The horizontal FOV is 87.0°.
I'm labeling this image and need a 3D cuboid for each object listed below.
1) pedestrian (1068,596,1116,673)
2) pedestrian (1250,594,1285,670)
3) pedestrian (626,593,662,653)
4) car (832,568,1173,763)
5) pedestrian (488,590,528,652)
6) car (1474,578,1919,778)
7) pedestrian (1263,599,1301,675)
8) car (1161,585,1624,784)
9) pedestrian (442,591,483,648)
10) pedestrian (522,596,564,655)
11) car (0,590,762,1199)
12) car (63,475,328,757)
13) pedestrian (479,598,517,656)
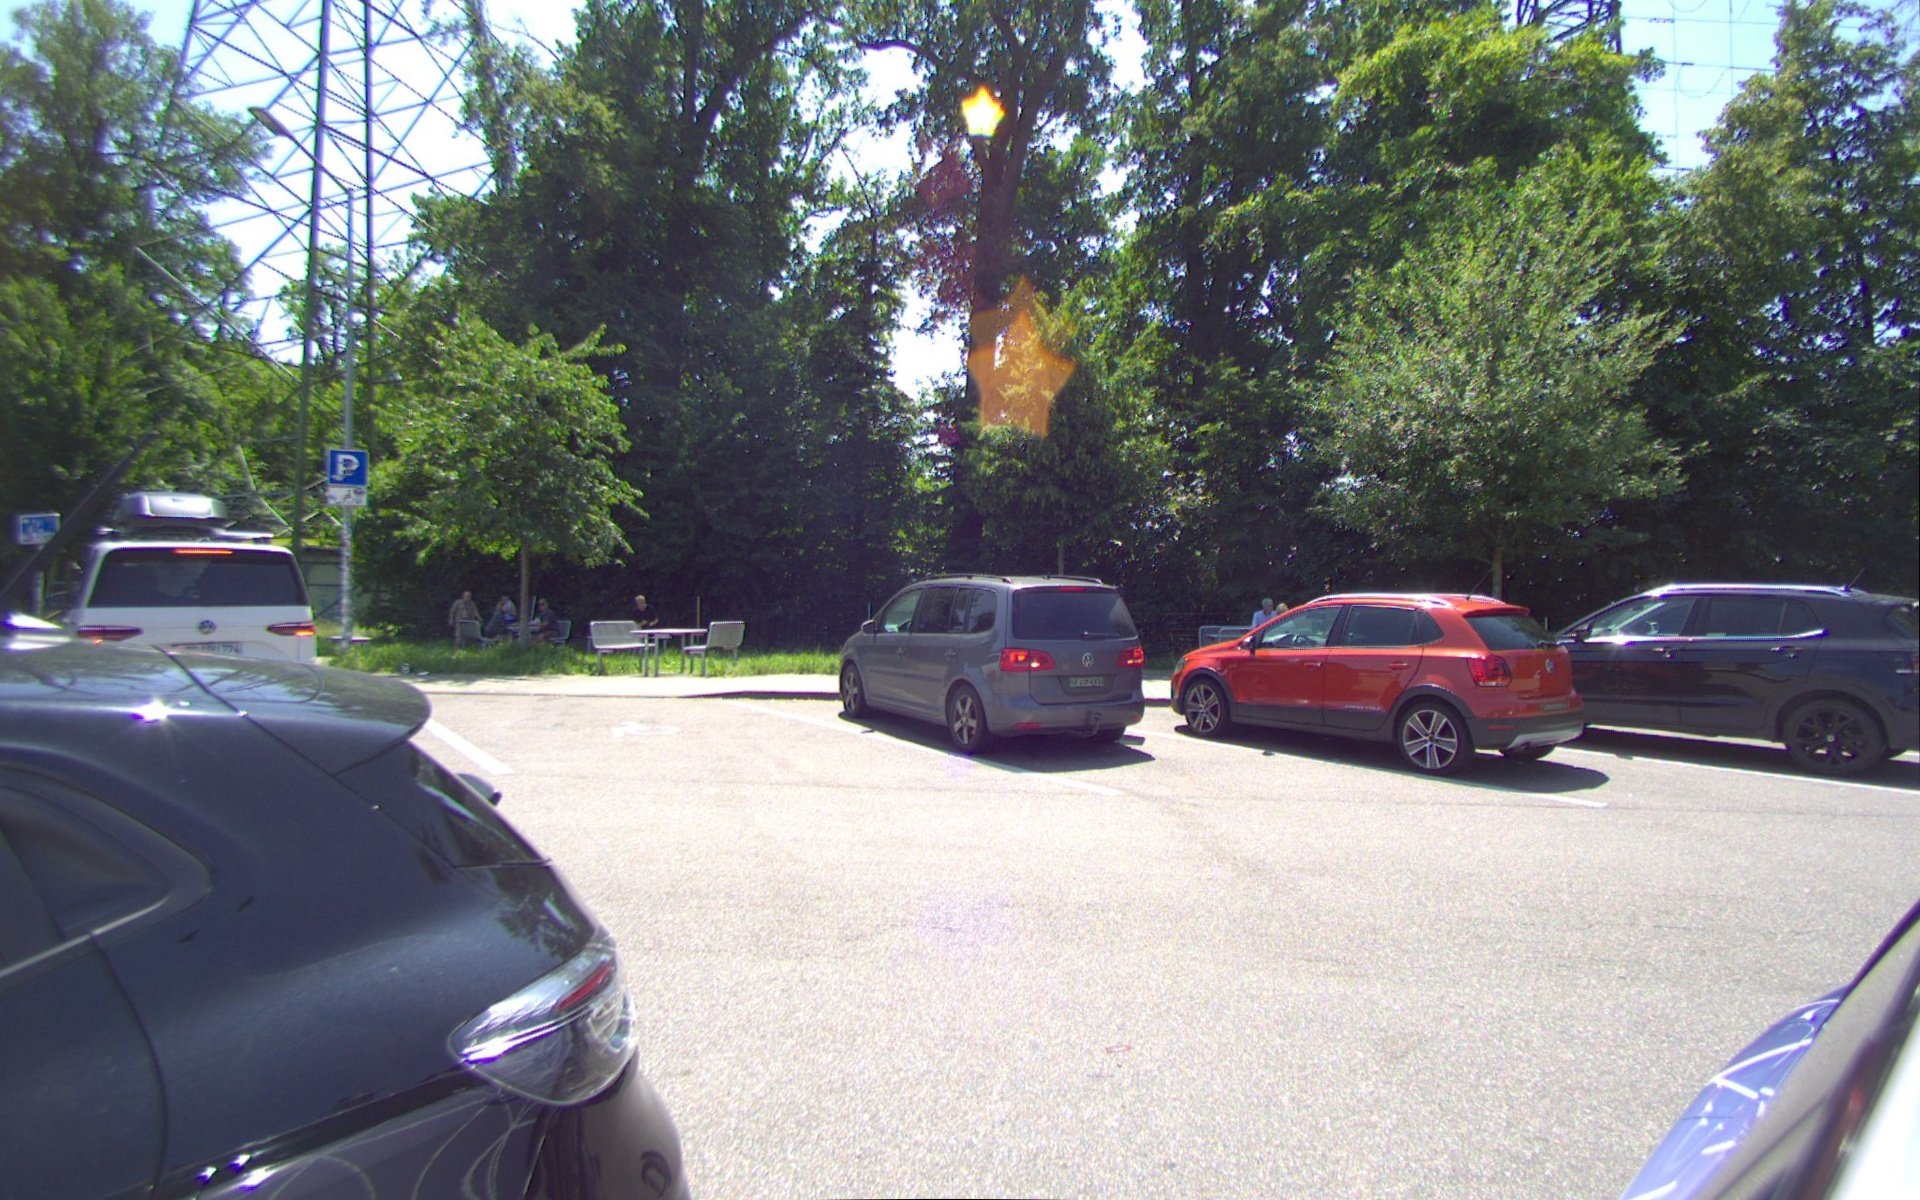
[{"bbox_3d":[2.187,0.572,16.824,0.660,1.235,0.682,1,-2,-5],"label":"pedestrian"},{"bbox_3d":[5.770,0.599,19.006,0.495,1.393,0.491,1,-1,0],"label":"pedestrian"},{"bbox_3d":[-6.633,0.475,21.253,0.550,1.229,0.599,1,-1,-1],"label":"pedestrian"},{"bbox_3d":[0.224,0.508,10.541,1.717,1.611,3.961,0,1,-30],"label":"car"},{"bbox_3d":[-10.945,0.502,24.501,0.722,1.478,0.669,1,-1,-39],"label":"pedestrian"},{"bbox_3d":[7.239,0.583,9.661,1.727,1.566,3.806,0,1,-39],"label":"car"},{"bbox_3d":[5.688,0.649,17.882,0.495,1.316,0.491,1,-1,0],"label":"pedestrian"},{"bbox_3d":[3.861,0.612,9.638,1.604,1.476,3.810,0,1,-34],"label":"car"},{"bbox_3d":[-12.524,0.485,25.492,0.604,1.391,0.700,0,-1,36],"label":"pedestrian"},{"bbox_3d":[-9.714,0.593,23.564,0.722,1.343,0.669,1,-1,-39],"label":"pedestrian"},{"bbox_3d":[-2.128,0.723,0.574,1.615,1.503,3.706,0,-1,44],"label":"car"},{"bbox_3d":[-8.065,0.097,10.613,1.885,2.353,4.089,0,1,-40],"label":"car"},{"bbox_3d":[-10.433,0.609,22.867,0.630,1.287,0.579,1,-1,-39],"label":"pedestrian"}]
